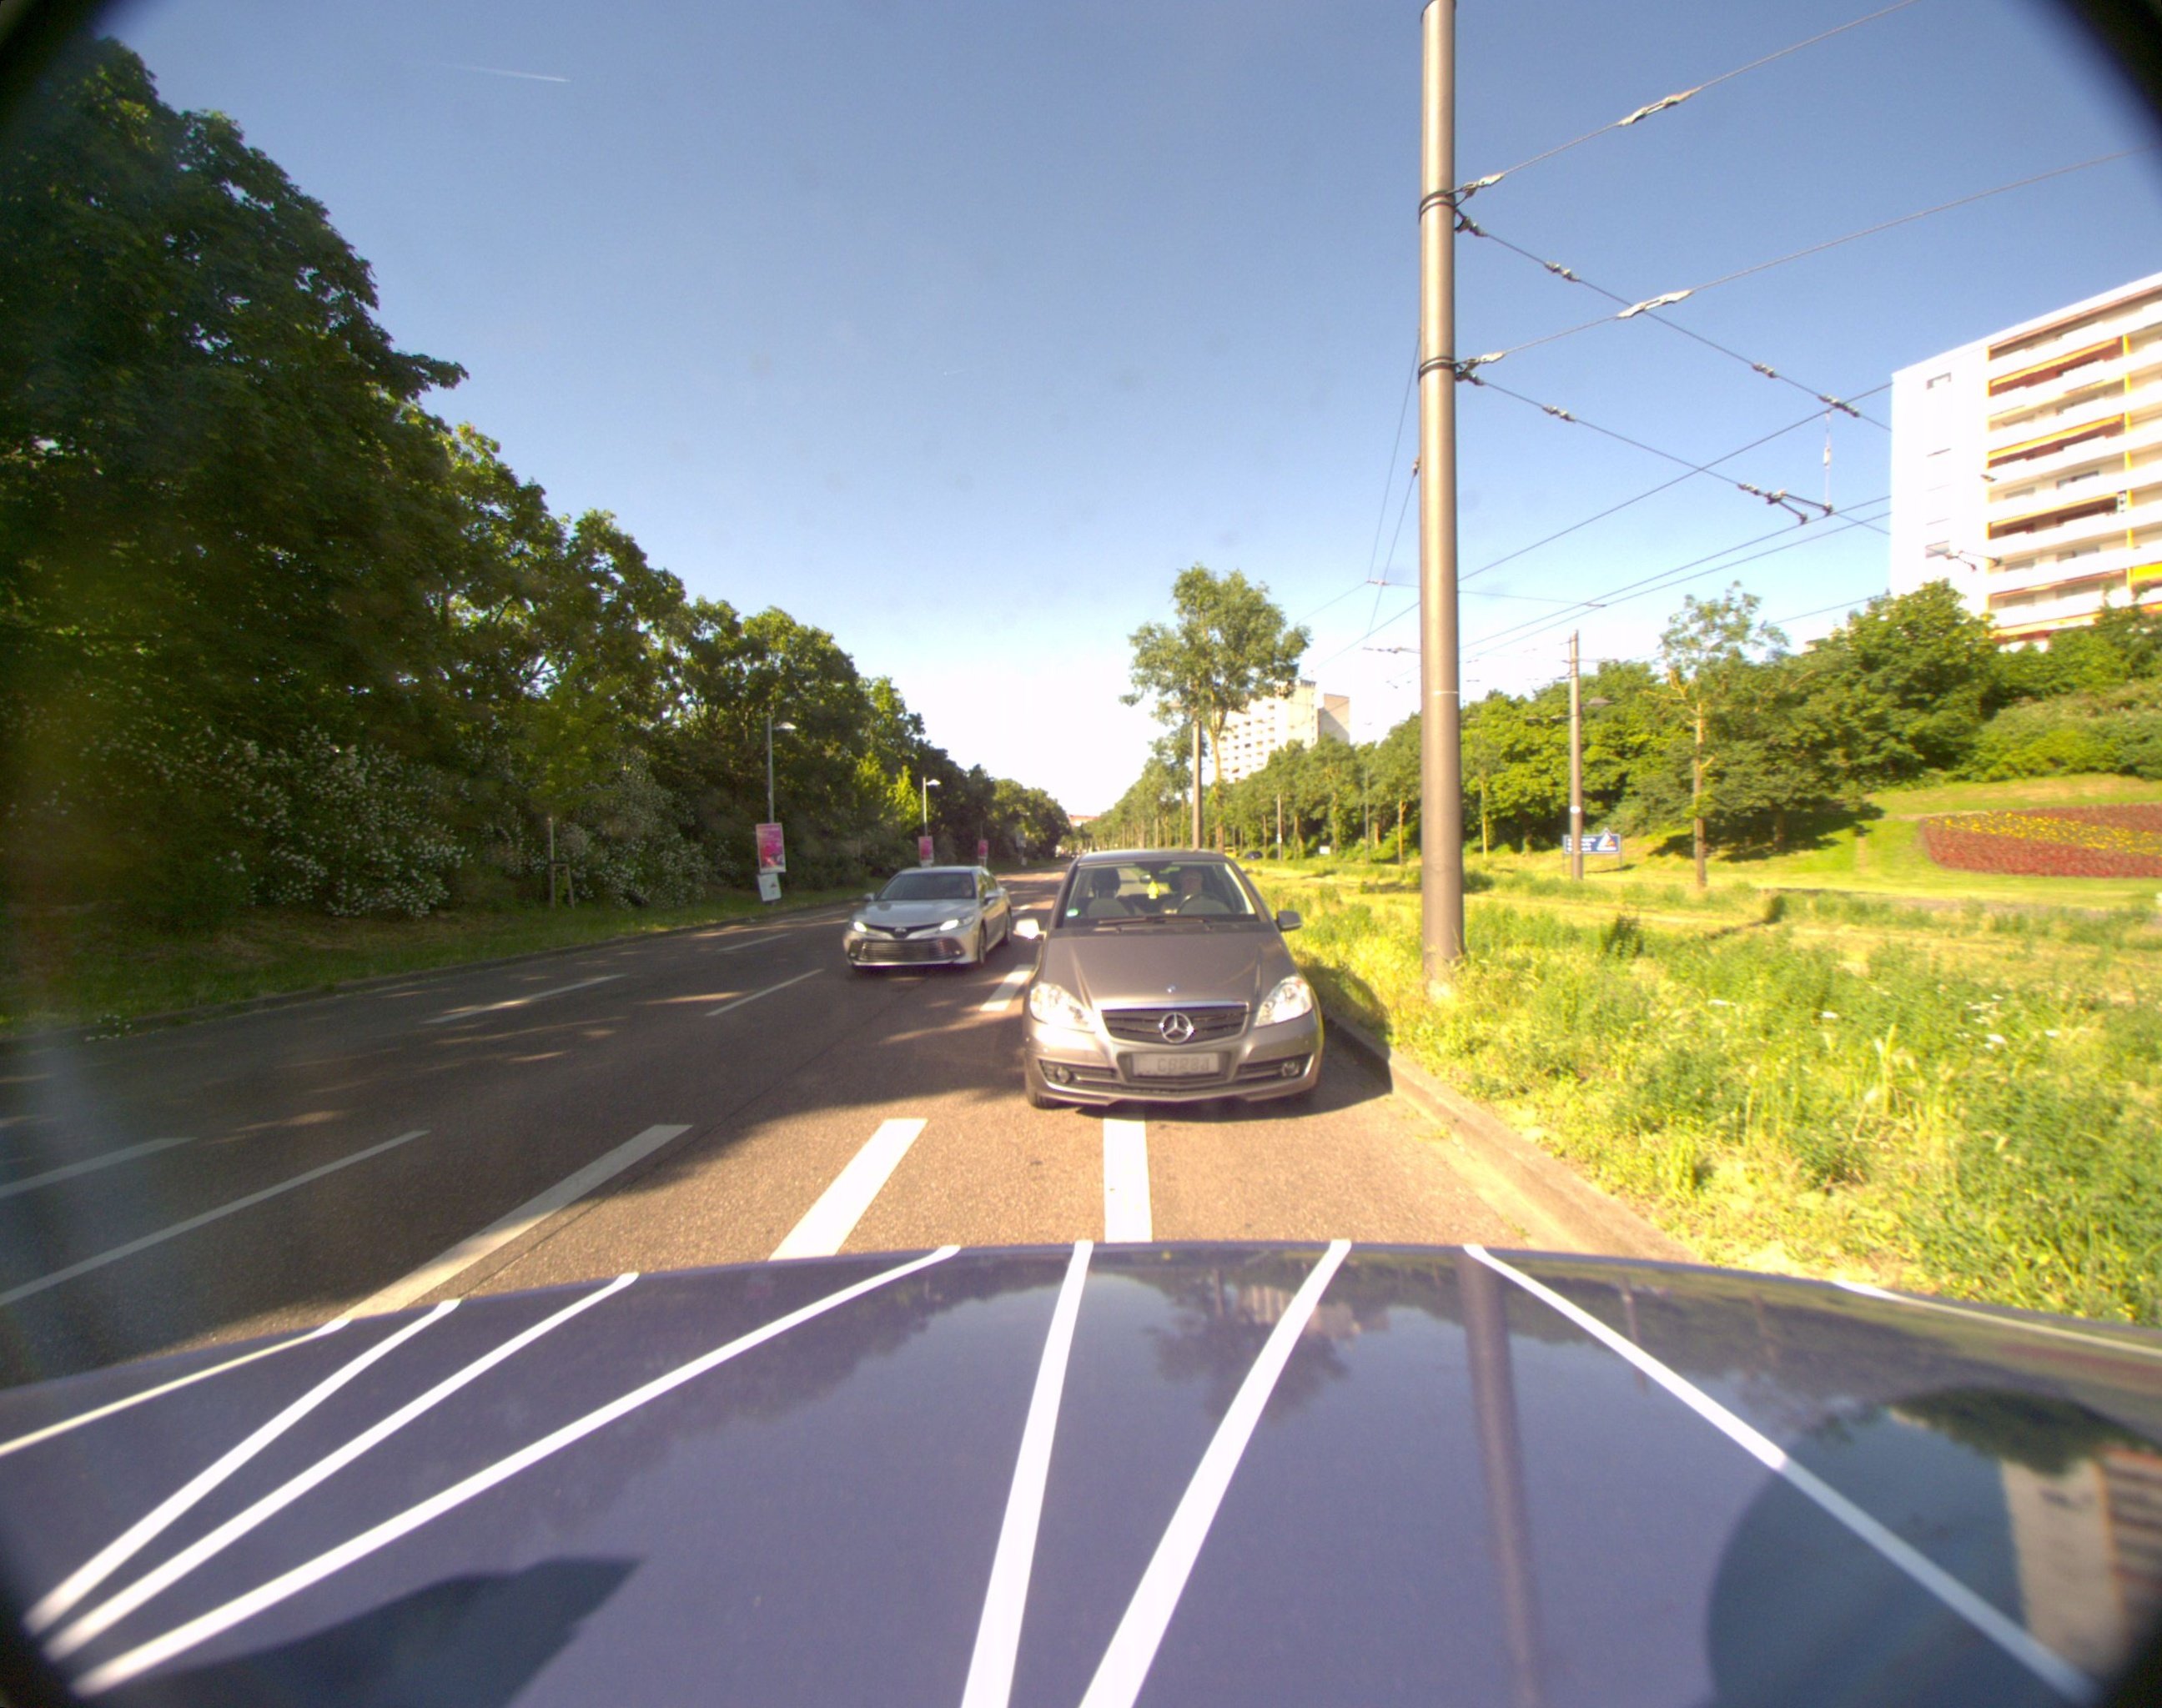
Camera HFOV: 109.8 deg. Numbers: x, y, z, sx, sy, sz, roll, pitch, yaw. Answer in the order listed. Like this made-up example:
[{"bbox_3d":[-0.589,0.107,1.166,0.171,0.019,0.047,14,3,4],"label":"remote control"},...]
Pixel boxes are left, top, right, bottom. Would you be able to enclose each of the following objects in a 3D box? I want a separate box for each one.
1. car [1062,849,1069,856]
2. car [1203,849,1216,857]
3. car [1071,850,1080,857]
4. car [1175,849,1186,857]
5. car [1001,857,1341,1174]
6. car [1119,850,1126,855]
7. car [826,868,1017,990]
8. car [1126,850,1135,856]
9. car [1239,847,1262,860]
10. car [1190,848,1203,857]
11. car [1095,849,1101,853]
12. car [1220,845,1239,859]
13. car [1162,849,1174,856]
[{"bbox_3d":[-4.229,-0.396,208.447,1.998,1.702,4.000,-1,0,1],"label":"car"},{"bbox_3d":[22.174,-0.198,131.625,1.780,1.368,4.001,-1,0,3],"label":"car"},{"bbox_3d":[-1.299,-0.105,178.629,1.998,1.702,4.000,-1,0,1],"label":"car"},{"bbox_3d":[19.995,-0.143,152.318,1.792,1.499,4.241,-1,0,3],"label":"car"},{"bbox_3d":[0.499,0.856,5.921,1.759,1.612,3.880,-1,0,1],"label":"car"},{"bbox_3d":[12.355,-0.378,226.901,1.802,1.455,3.999,-1,0,-1],"label":"car"},{"bbox_3d":[-2.229,1.000,11.953,1.875,1.428,4.594,-1,0,2],"label":"car"},{"bbox_3d":[13.041,-0.296,198.902,1.793,1.499,4.239,-1,0,-3],"label":"car"},{"bbox_3d":[21.993,-0.084,98.715,1.998,1.565,4.106,-1,0,1],"label":"car"},{"bbox_3d":[18.979,-0.232,125.087,1.693,1.399,4.022,-1,0,1],"label":"car"},{"bbox_3d":[5.720,-0.951,257.877,1.803,1.455,3.998,0,1,-4],"label":"car"},{"bbox_3d":[22.290,-0.319,114.018,1.998,1.955,4.907,-1,0,1],"label":"car"},{"bbox_3d":[19.528,-0.305,170.548,1.793,1.499,4.238,-1,0,-6],"label":"car"}]
